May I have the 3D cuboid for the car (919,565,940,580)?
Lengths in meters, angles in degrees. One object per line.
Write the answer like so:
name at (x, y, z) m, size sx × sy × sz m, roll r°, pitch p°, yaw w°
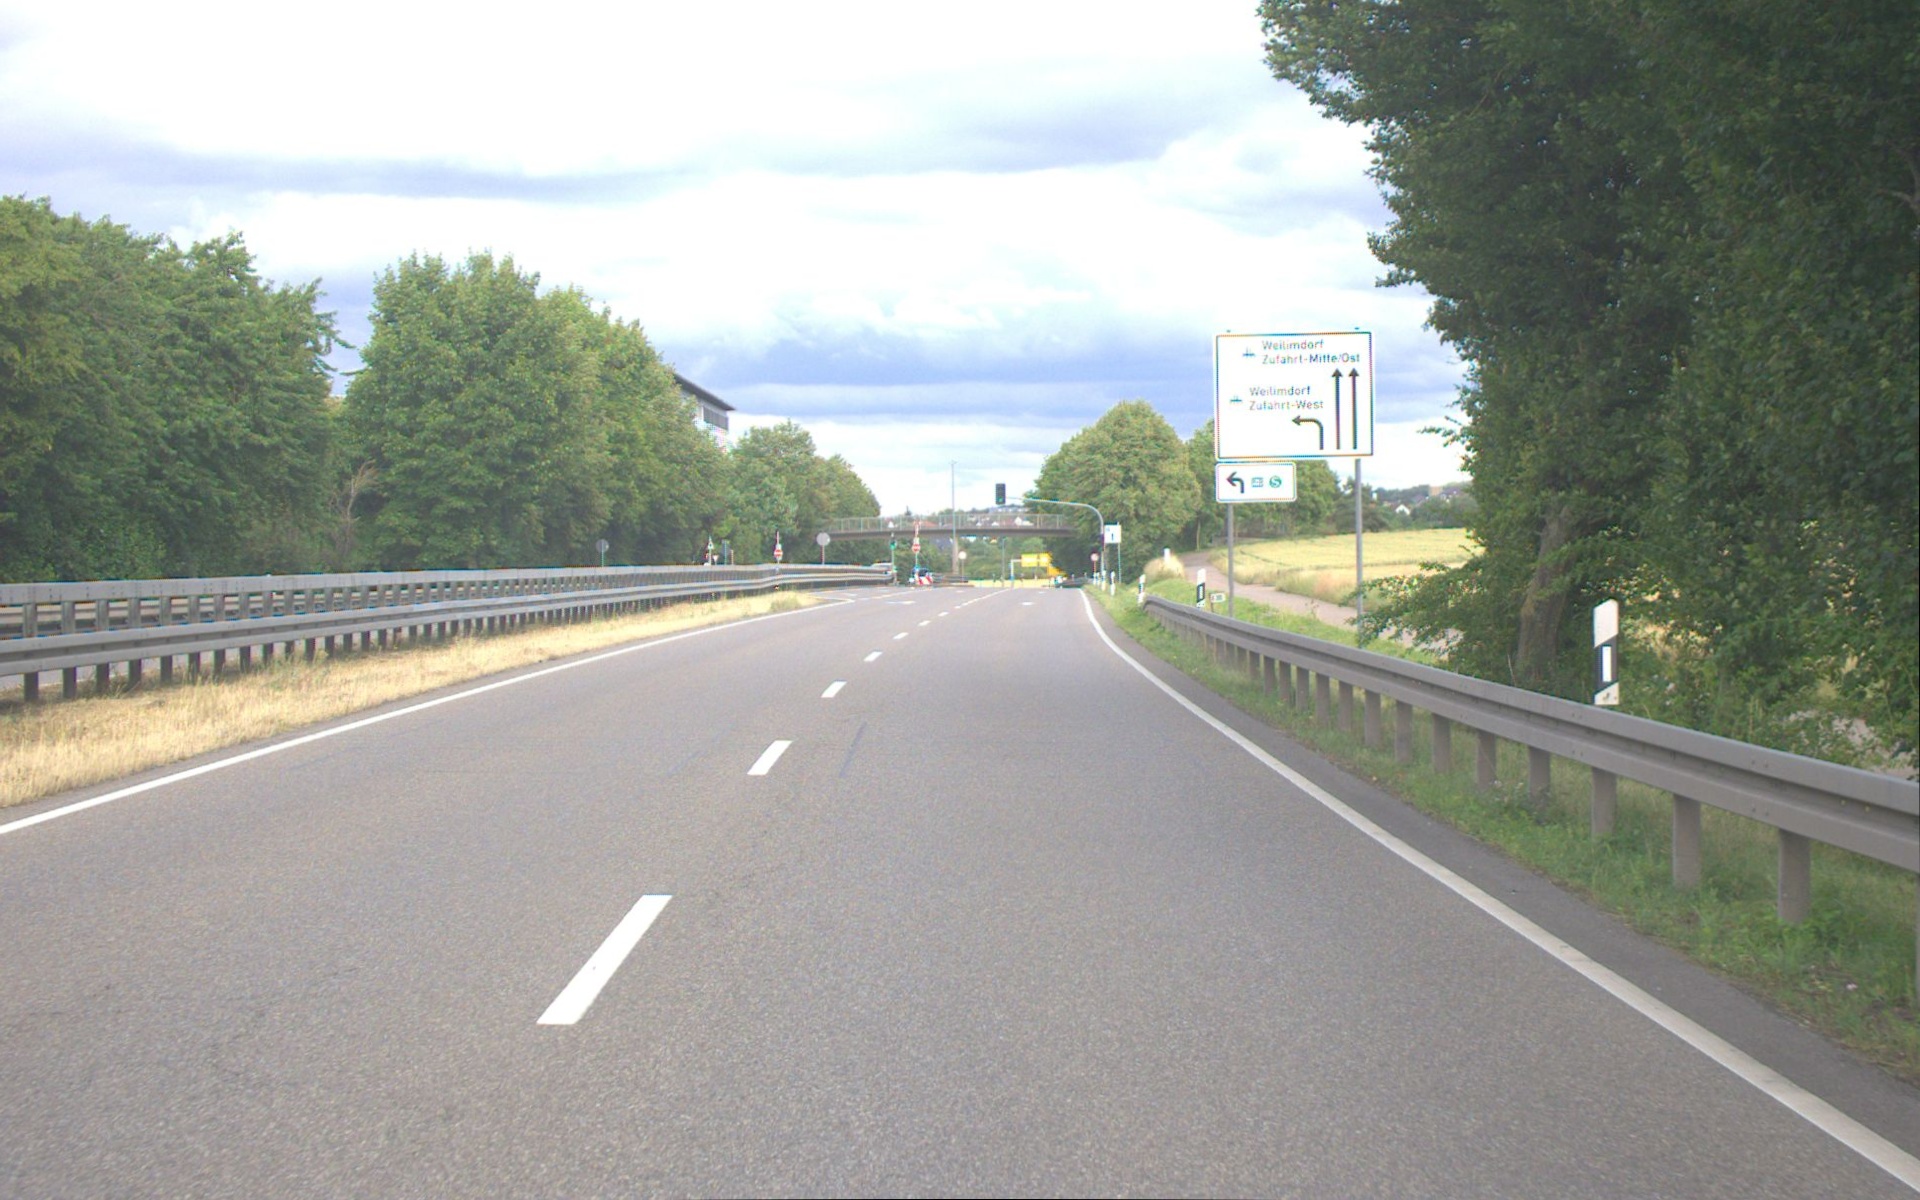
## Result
car at (-2.268, -2.032, 253.593) m, size 1.358 × 1.088 × 2.921 m, roll 0°, pitch 1°, yaw 3°
